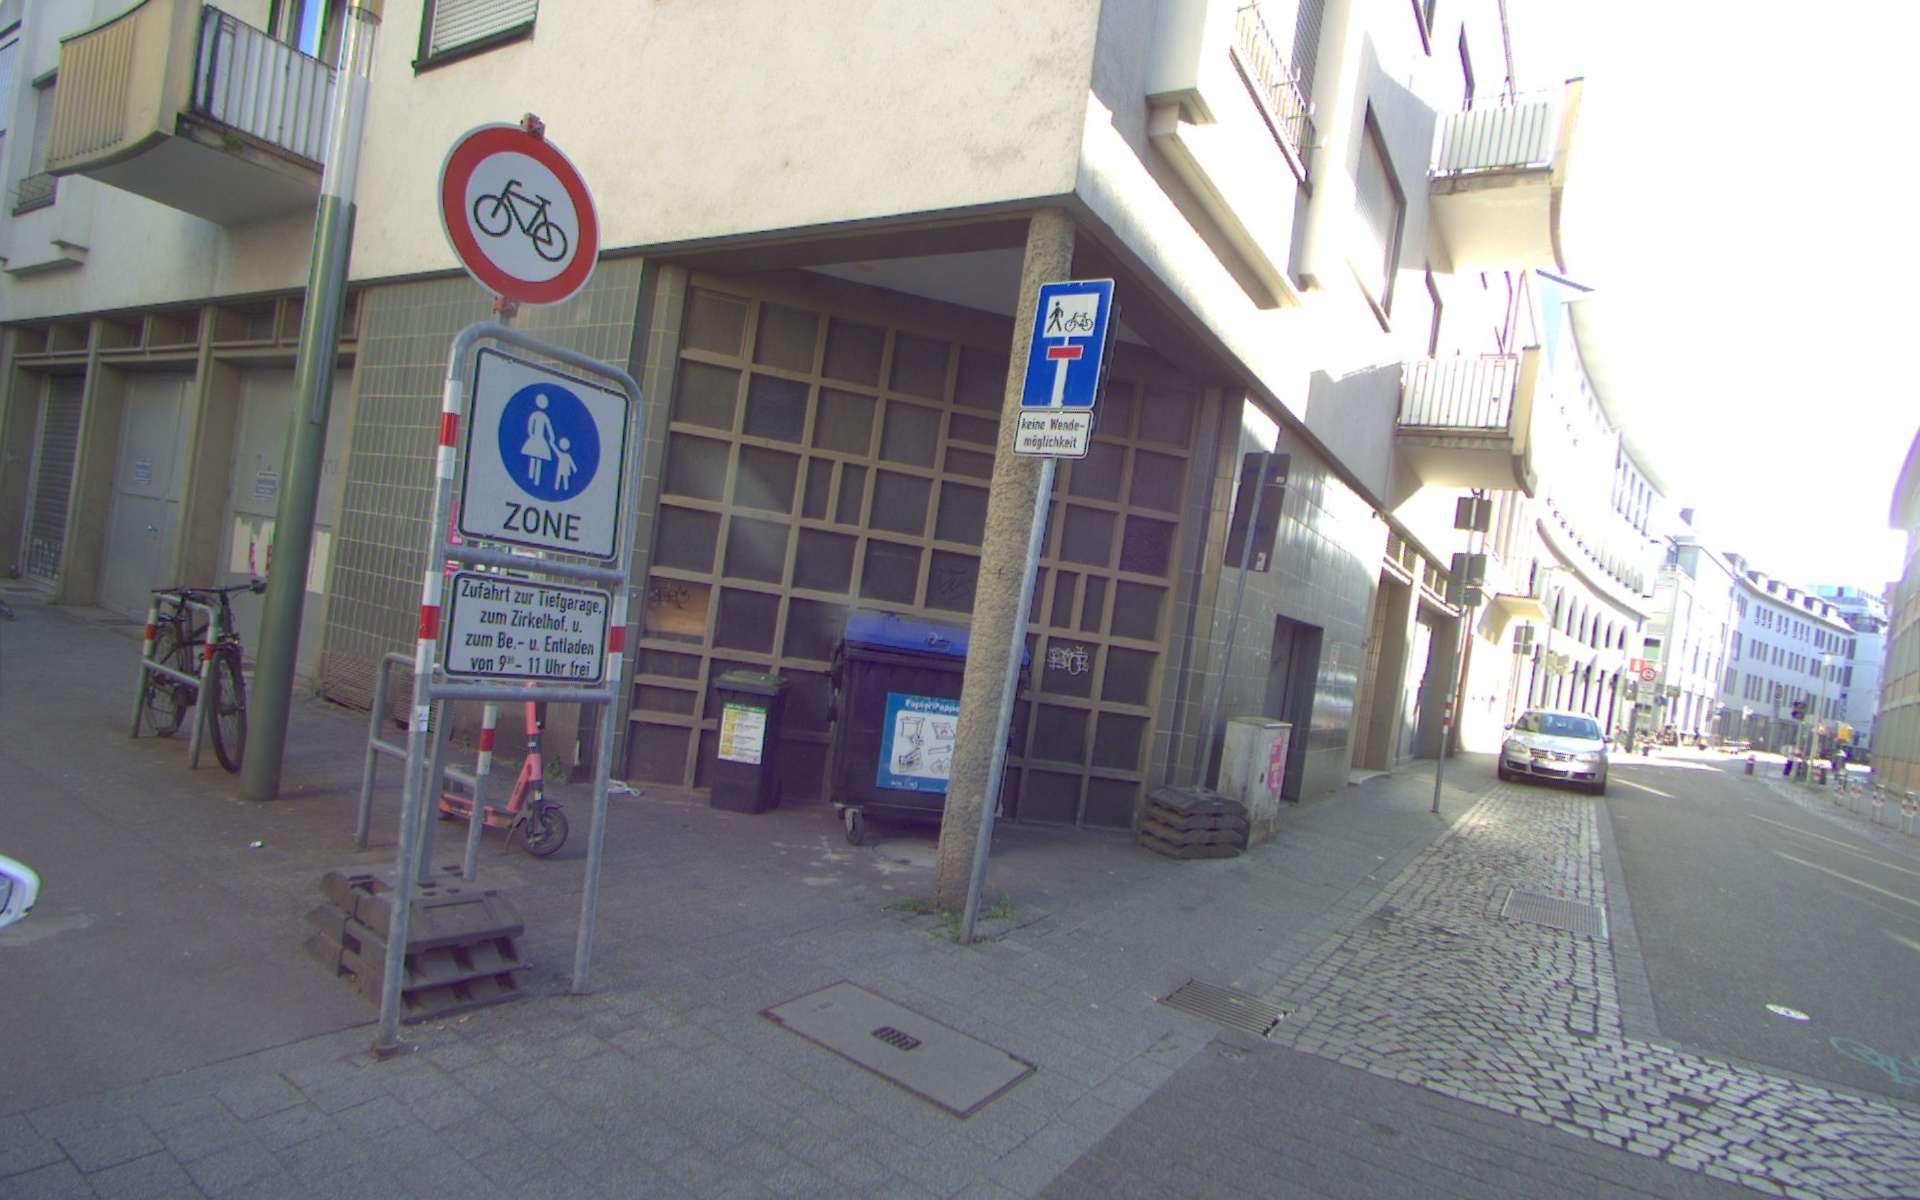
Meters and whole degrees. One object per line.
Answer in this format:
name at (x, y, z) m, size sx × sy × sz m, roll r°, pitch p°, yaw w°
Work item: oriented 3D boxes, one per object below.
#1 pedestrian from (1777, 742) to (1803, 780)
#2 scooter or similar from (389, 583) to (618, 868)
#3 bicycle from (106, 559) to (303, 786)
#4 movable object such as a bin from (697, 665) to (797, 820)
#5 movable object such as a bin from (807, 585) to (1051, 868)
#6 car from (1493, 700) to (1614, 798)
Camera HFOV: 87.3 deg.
pedestrian at (35.553, 6.889, 43.106) m, size 0.649 × 1.458 × 0.594 m, roll 8°, pitch 0°, yaw 35°
scooter or similar at (-2.425, 0.616, 5.303) m, size 1.218 × 1.268 × 0.307 m, roll 7°, pitch 0°, yaw 30°
bicycle at (-4.678, 0.398, 6.186) m, size 1.684 × 1.153 × 0.446 m, roll 6°, pitch -1°, yaw 38°
movable object such as a bin at (-1.466, 0.964, 6.895) m, size 0.533 × 0.935 × 0.512 m, roll 7°, pitch 0°, yaw -14°
movable object such as a bin at (-0.265, 0.803, 6.822) m, size 1.271 × 1.609 × 1.152 m, roll 8°, pitch 1°, yaw -12°
car at (11.655, 2.818, 19.653) m, size 1.742 × 1.487 × 3.805 m, roll 6°, pitch -2°, yaw 33°
